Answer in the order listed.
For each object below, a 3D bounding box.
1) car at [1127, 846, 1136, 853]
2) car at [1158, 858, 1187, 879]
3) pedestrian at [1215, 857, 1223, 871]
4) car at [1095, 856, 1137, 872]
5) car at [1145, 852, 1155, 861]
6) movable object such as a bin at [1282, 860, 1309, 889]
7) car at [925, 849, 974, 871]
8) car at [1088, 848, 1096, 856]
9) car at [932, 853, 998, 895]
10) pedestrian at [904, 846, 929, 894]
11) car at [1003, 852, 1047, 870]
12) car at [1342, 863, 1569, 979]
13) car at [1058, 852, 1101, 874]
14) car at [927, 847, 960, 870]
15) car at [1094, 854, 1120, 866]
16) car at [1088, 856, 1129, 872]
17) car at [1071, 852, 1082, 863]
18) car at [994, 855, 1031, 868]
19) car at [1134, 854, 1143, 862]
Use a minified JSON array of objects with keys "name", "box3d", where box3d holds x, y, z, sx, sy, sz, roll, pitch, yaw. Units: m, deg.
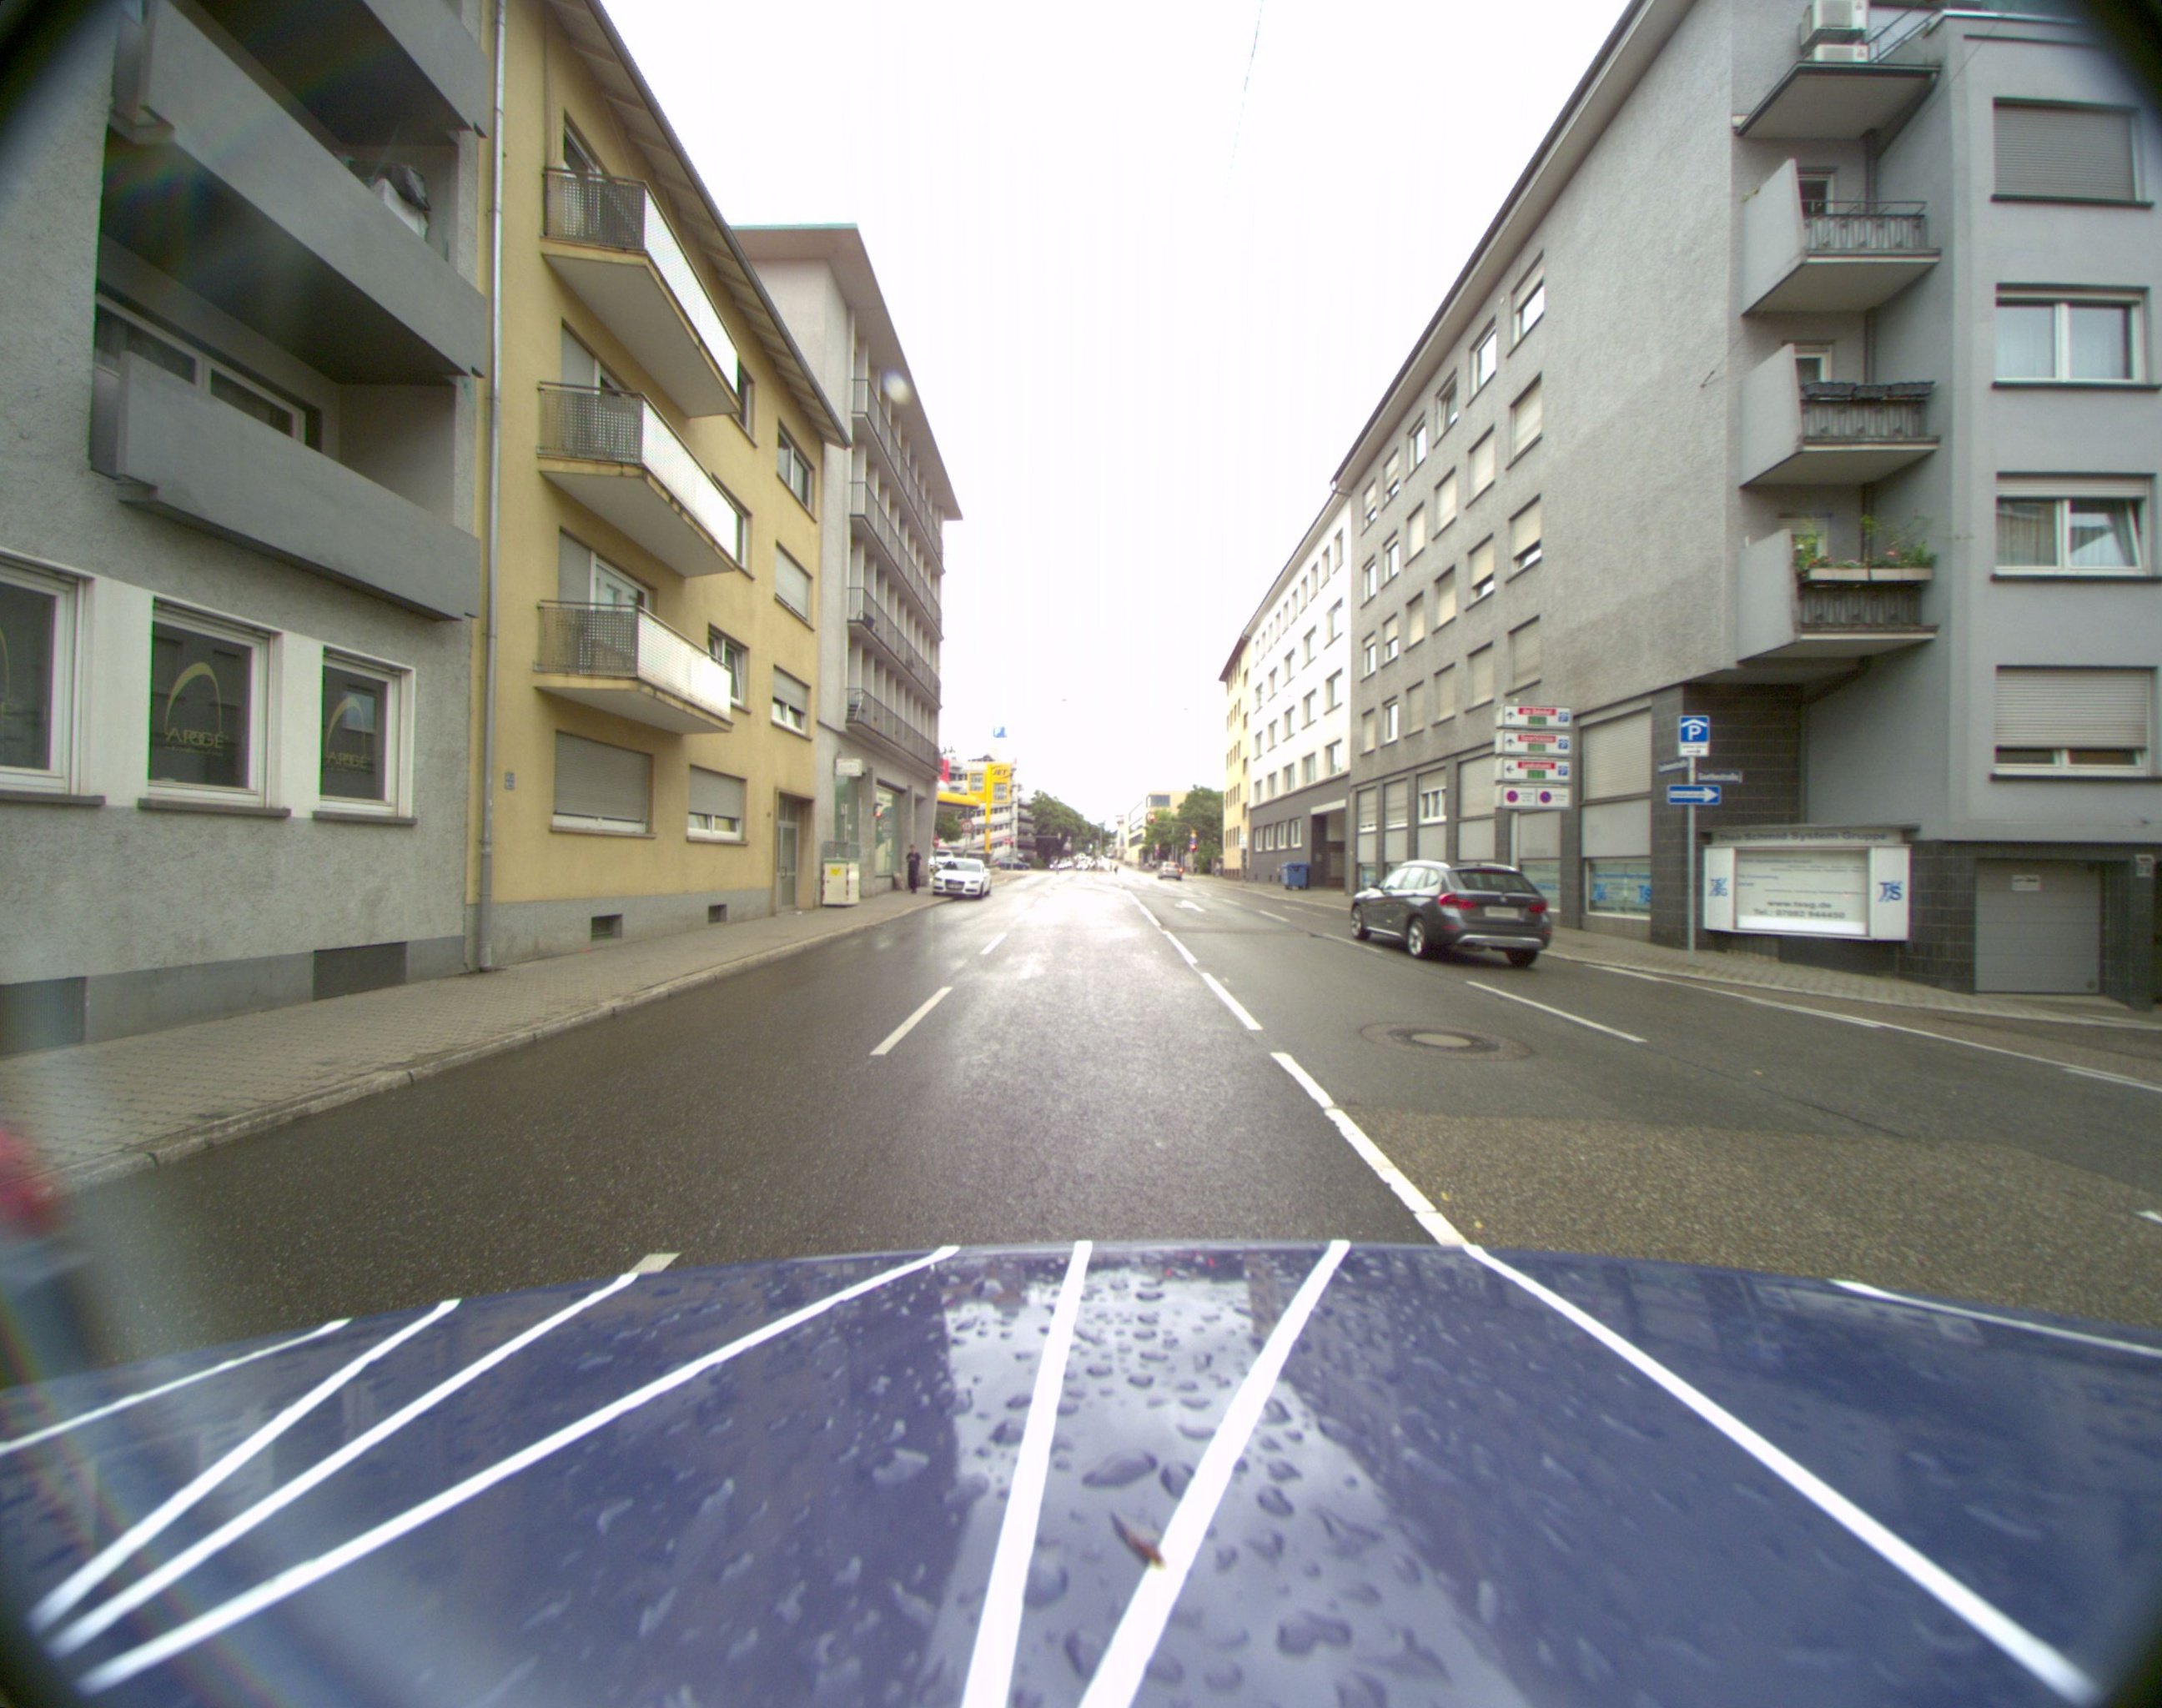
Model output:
[{"name":"car","box3d":[12.864,-1.107,192.897,1.998,1.683,4.000,-2,1,2]},{"name":"car","box3d":[7.420,1.162,62.136,1.883,1.580,4.373,0,0,1]},{"name":"pedestrian","box3d":[11.947,0.888,65.687,0.581,1.143,0.408,3,1,27]},{"name":"car","box3d":[3.433,0.932,73.871,3.996,1.499,1.738,1,1,2]},{"name":"car","box3d":[15.459,0.591,170.059,1.998,1.863,3.999,-2,1,0]},{"name":"movable object such as a bin","box3d":[10.385,0.999,36.800,0.946,1.325,1.096,-3,1,1]},{"name":"car","box3d":[-11.616,0.503,67.219,3.929,1.706,1.902,-3,0,0]},{"name":"car","box3d":[2.896,-0.429,201.456,1.998,2.002,3.999,-2,1,1]},{"name":"car","box3d":[-4.363,0.695,29.070,1.803,1.427,4.166,1,0,1]},{"name":"pedestrian","box3d":[-6.078,0.570,28.155,0.679,1.745,0.888,1,1,2]},{"name":"car","box3d":[-5.596,0.683,76.456,3.994,1.751,2.001,1,1,9]},{"name":"car","box3d":[5.963,0.964,12.741,1.707,1.498,4.159,3,0,0]},{"name":"car","box3d":[-0.135,0.823,70.410,3.794,1.823,1.692,-3,0,2]},{"name":"car","box3d":[-9.198,0.283,51.032,1.771,1.465,3.998,-2,0,-5]},{"name":"car","box3d":[4.174,0.897,120.316,3.995,1.736,2.000,-2,1,5]},{"name":"car","box3d":[2.789,1.006,76.934,3.996,1.499,1.738,1,1,2]},{"name":"car","box3d":[-0.842,0.763,150.299,1.998,2.002,3.999,-2,1,0]},{"name":"car","box3d":[-8.120,0.927,90.382,4.006,1.499,1.734,1,1,-26]},{"name":"car","box3d":[13.586,0.946,179.016,1.998,1.683,4.000,-2,1,2]}]
